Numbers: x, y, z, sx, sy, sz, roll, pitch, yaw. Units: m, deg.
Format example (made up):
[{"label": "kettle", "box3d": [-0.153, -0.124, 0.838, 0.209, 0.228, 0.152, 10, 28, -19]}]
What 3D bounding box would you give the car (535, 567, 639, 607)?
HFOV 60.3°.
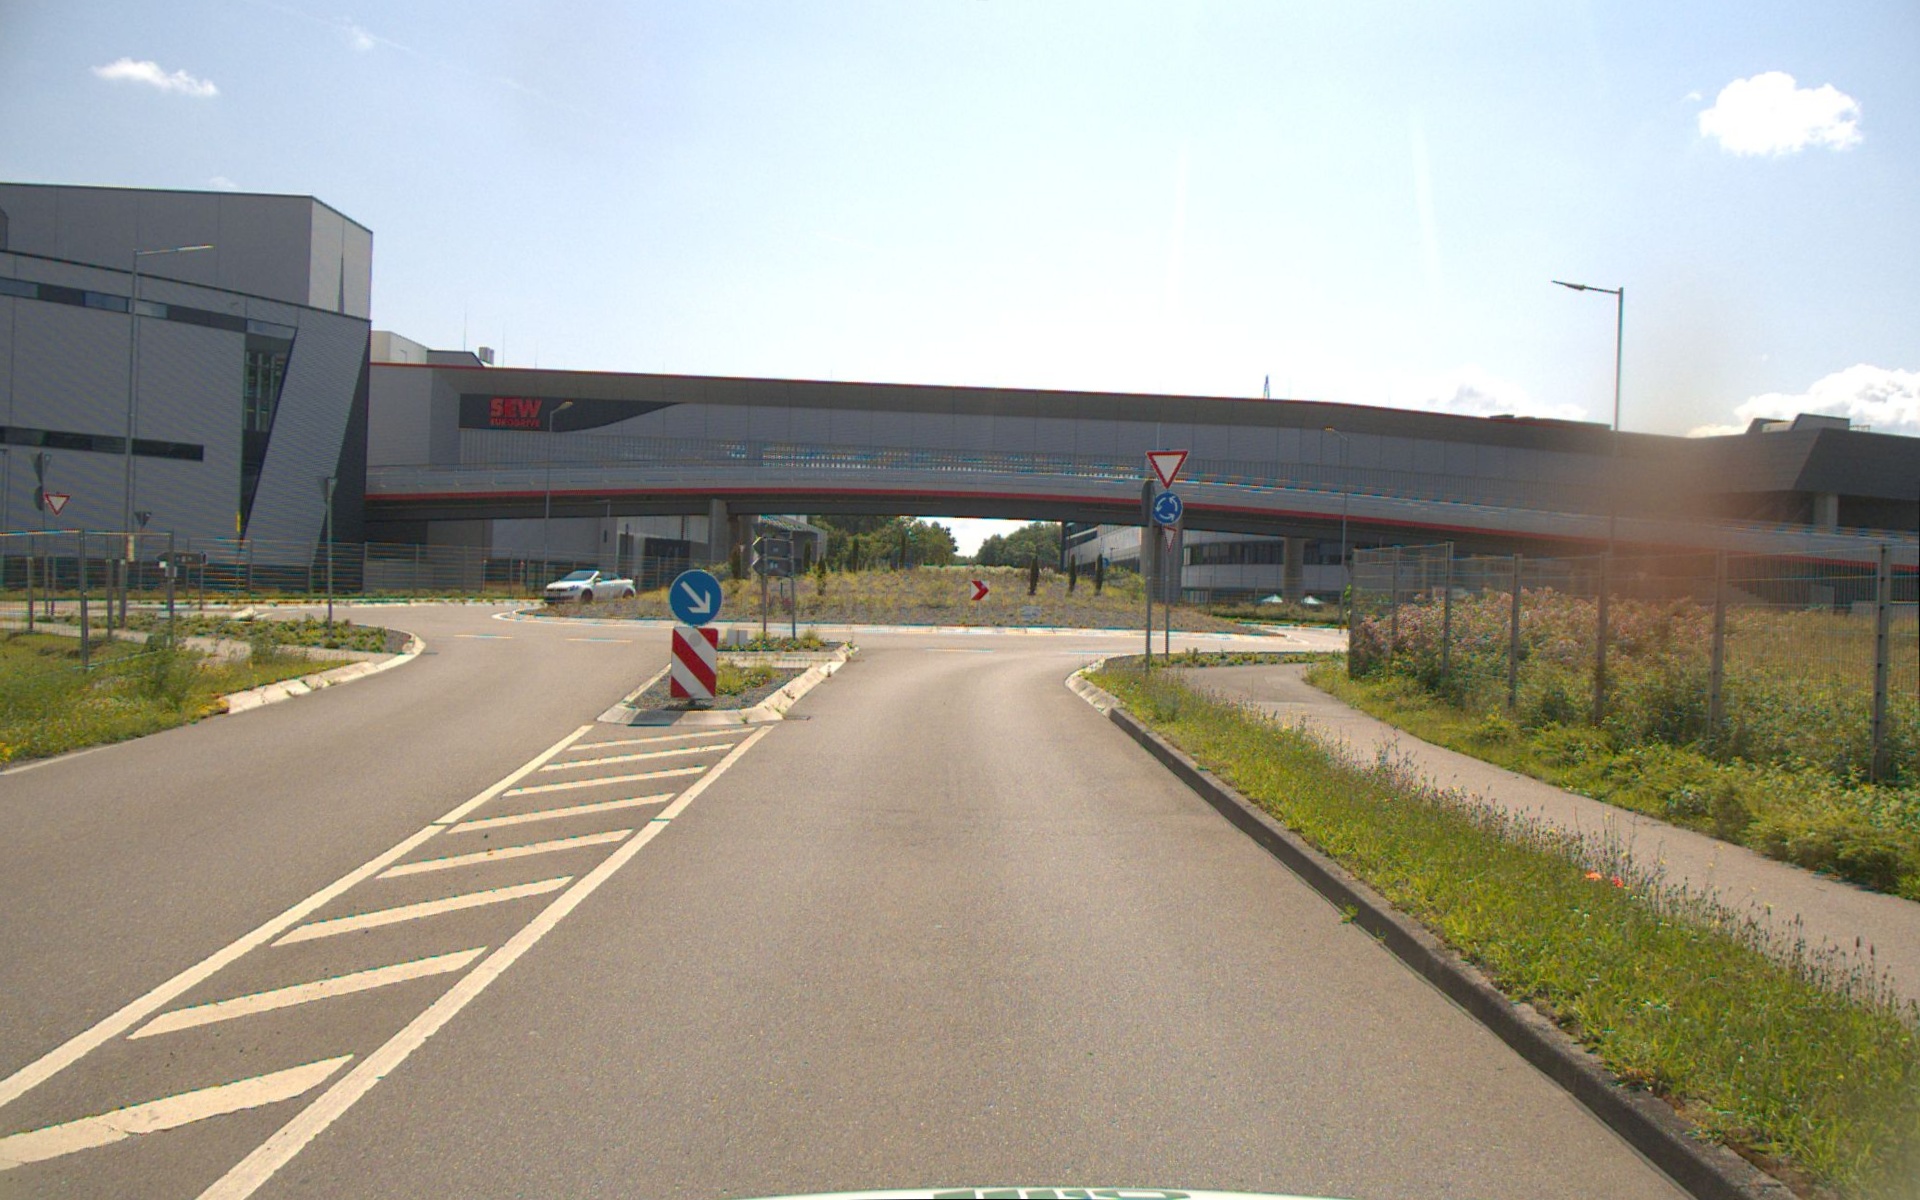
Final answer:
[{"label": "car", "box3d": [-14.193, -0.492, 63.089, 1.735, 1.453, 4.048, 1, 0, 26]}]
